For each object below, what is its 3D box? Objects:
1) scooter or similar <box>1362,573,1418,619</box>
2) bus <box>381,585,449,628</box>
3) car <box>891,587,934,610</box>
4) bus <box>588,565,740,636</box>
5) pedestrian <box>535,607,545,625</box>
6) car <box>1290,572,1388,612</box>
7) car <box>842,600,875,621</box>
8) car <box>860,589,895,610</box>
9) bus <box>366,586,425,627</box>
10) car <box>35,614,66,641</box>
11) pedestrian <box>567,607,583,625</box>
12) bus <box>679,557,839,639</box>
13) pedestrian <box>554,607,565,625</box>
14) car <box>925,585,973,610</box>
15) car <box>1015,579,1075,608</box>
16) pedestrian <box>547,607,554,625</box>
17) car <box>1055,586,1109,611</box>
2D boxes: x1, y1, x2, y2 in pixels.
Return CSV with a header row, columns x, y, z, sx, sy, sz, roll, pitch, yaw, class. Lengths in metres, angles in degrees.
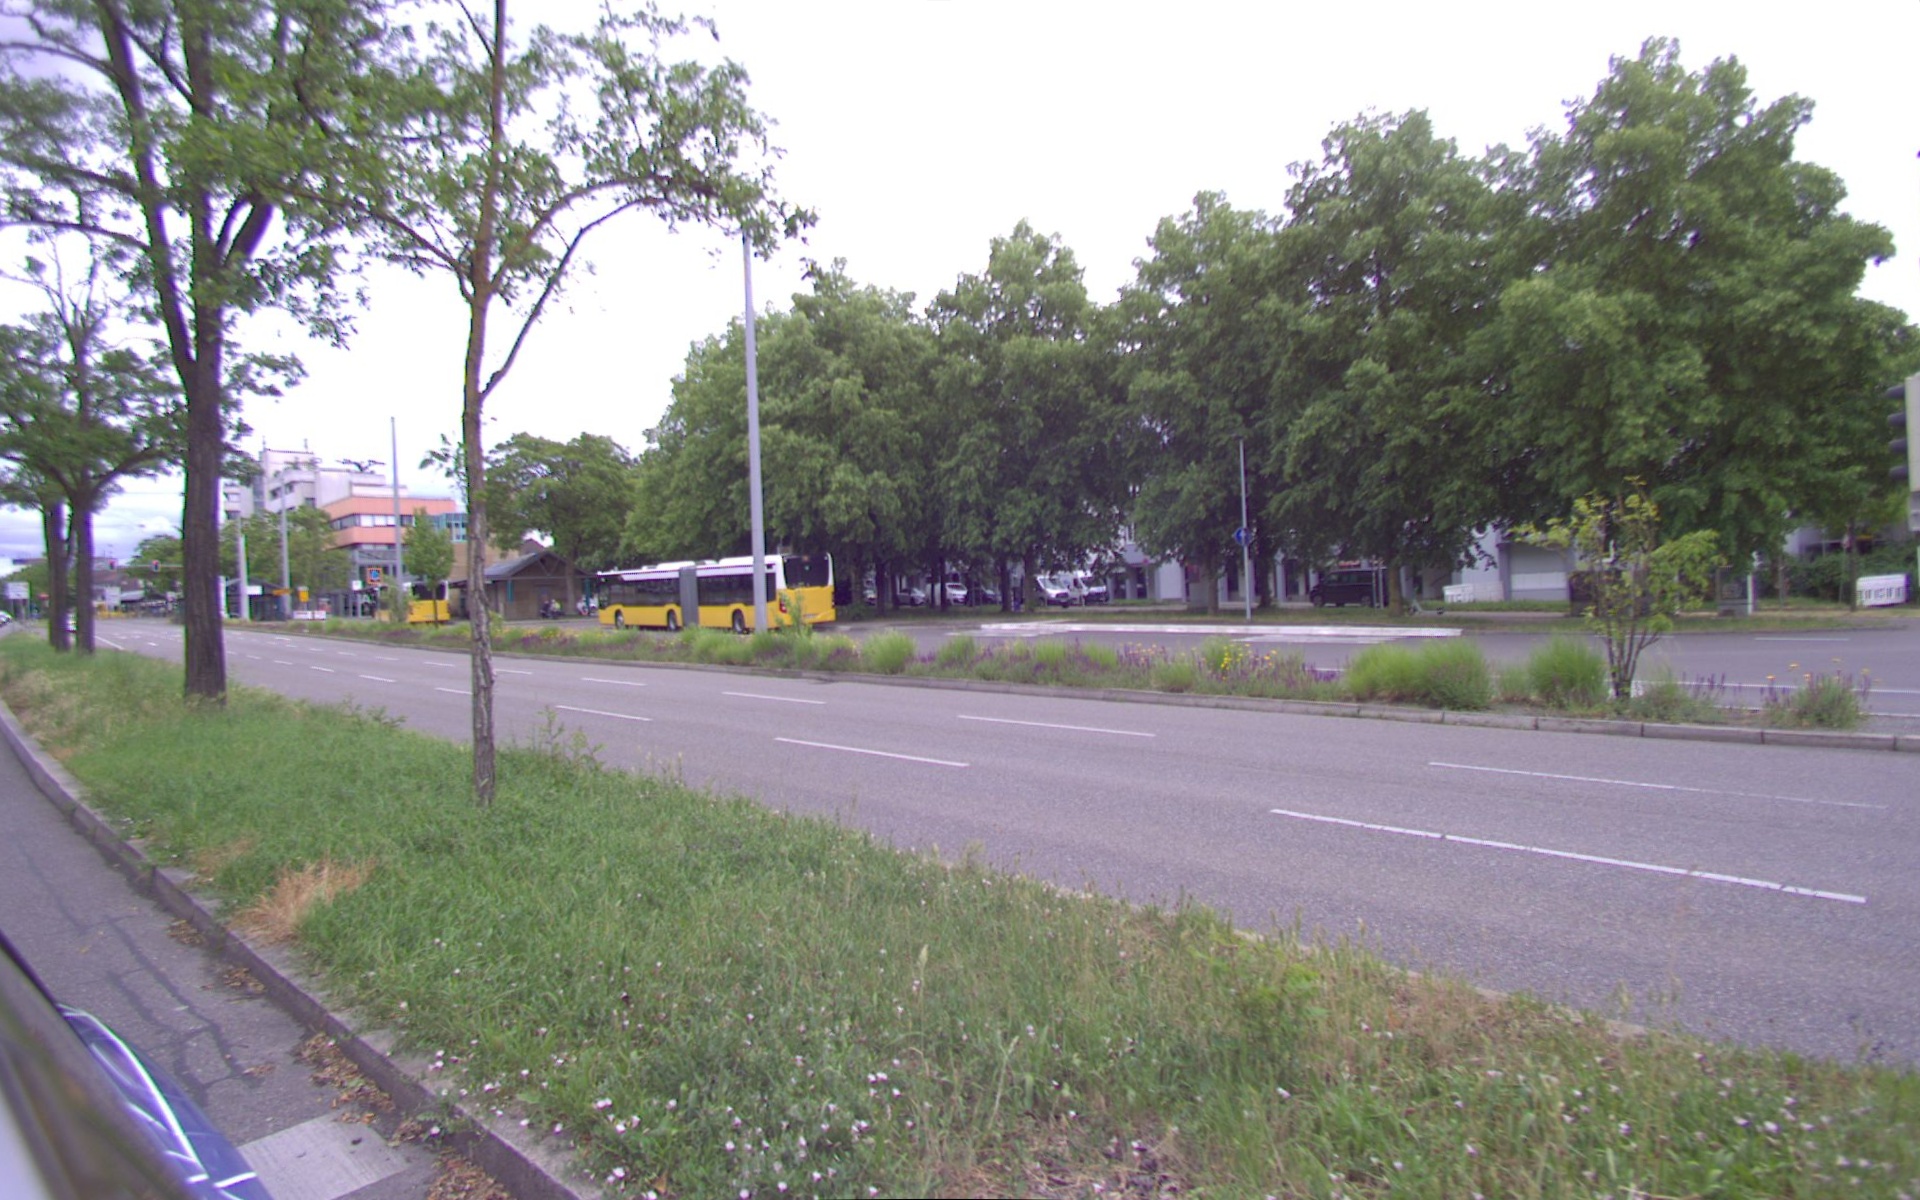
x,y,z,sx,sy,sz,roll,pitch,yaw,class
16.237,-0.160,38.233,1.842,1.676,0.646,-2,0,32,scooter or similar
-38.815,0.523,71.907,2.844,2.830,9.195,-2,0,-37,bus
-3.840,-0.108,81.361,1.662,1.763,4.011,-1,0,-33,car
-14.371,0.090,48.410,2.847,3.025,10.408,-2,0,-41,bus
-28.226,1.056,67.951,0.589,1.171,0.745,-1,0,-23,pedestrian
19.021,-0.368,50.940,1.757,1.861,4.430,-2,0,-32,car
-8.947,0.928,89.398,1.662,1.763,3.102,-1,0,-33,car
-7.041,-0.045,86.216,1.662,1.763,3.102,-1,0,-33,car
-44.232,0.557,79.176,2.844,3.025,9.196,-2,0,-37,bus
-73.003,2.220,81.236,1.702,2.029,4.003,-2,0,-44,car
-25.495,1.043,66.996,0.925,1.180,0.641,-1,0,44,pedestrian
-8.407,-0.034,41.501,2.847,3.025,7.894,-2,0,-41,bus
-26.384,1.038,66.666,0.589,1.171,0.745,-1,0,-20,pedestrian
-0.869,-0.182,75.670,1.662,1.763,4.011,-1,0,-33,car
5.430,-0.409,64.986,1.662,1.763,4.011,-1,0,-33,car
-26.872,1.048,66.421,0.361,1.175,0.900,-1,0,-20,pedestrian
8.530,-0.087,71.247,1.751,1.652,4.012,-1,0,-29,car
